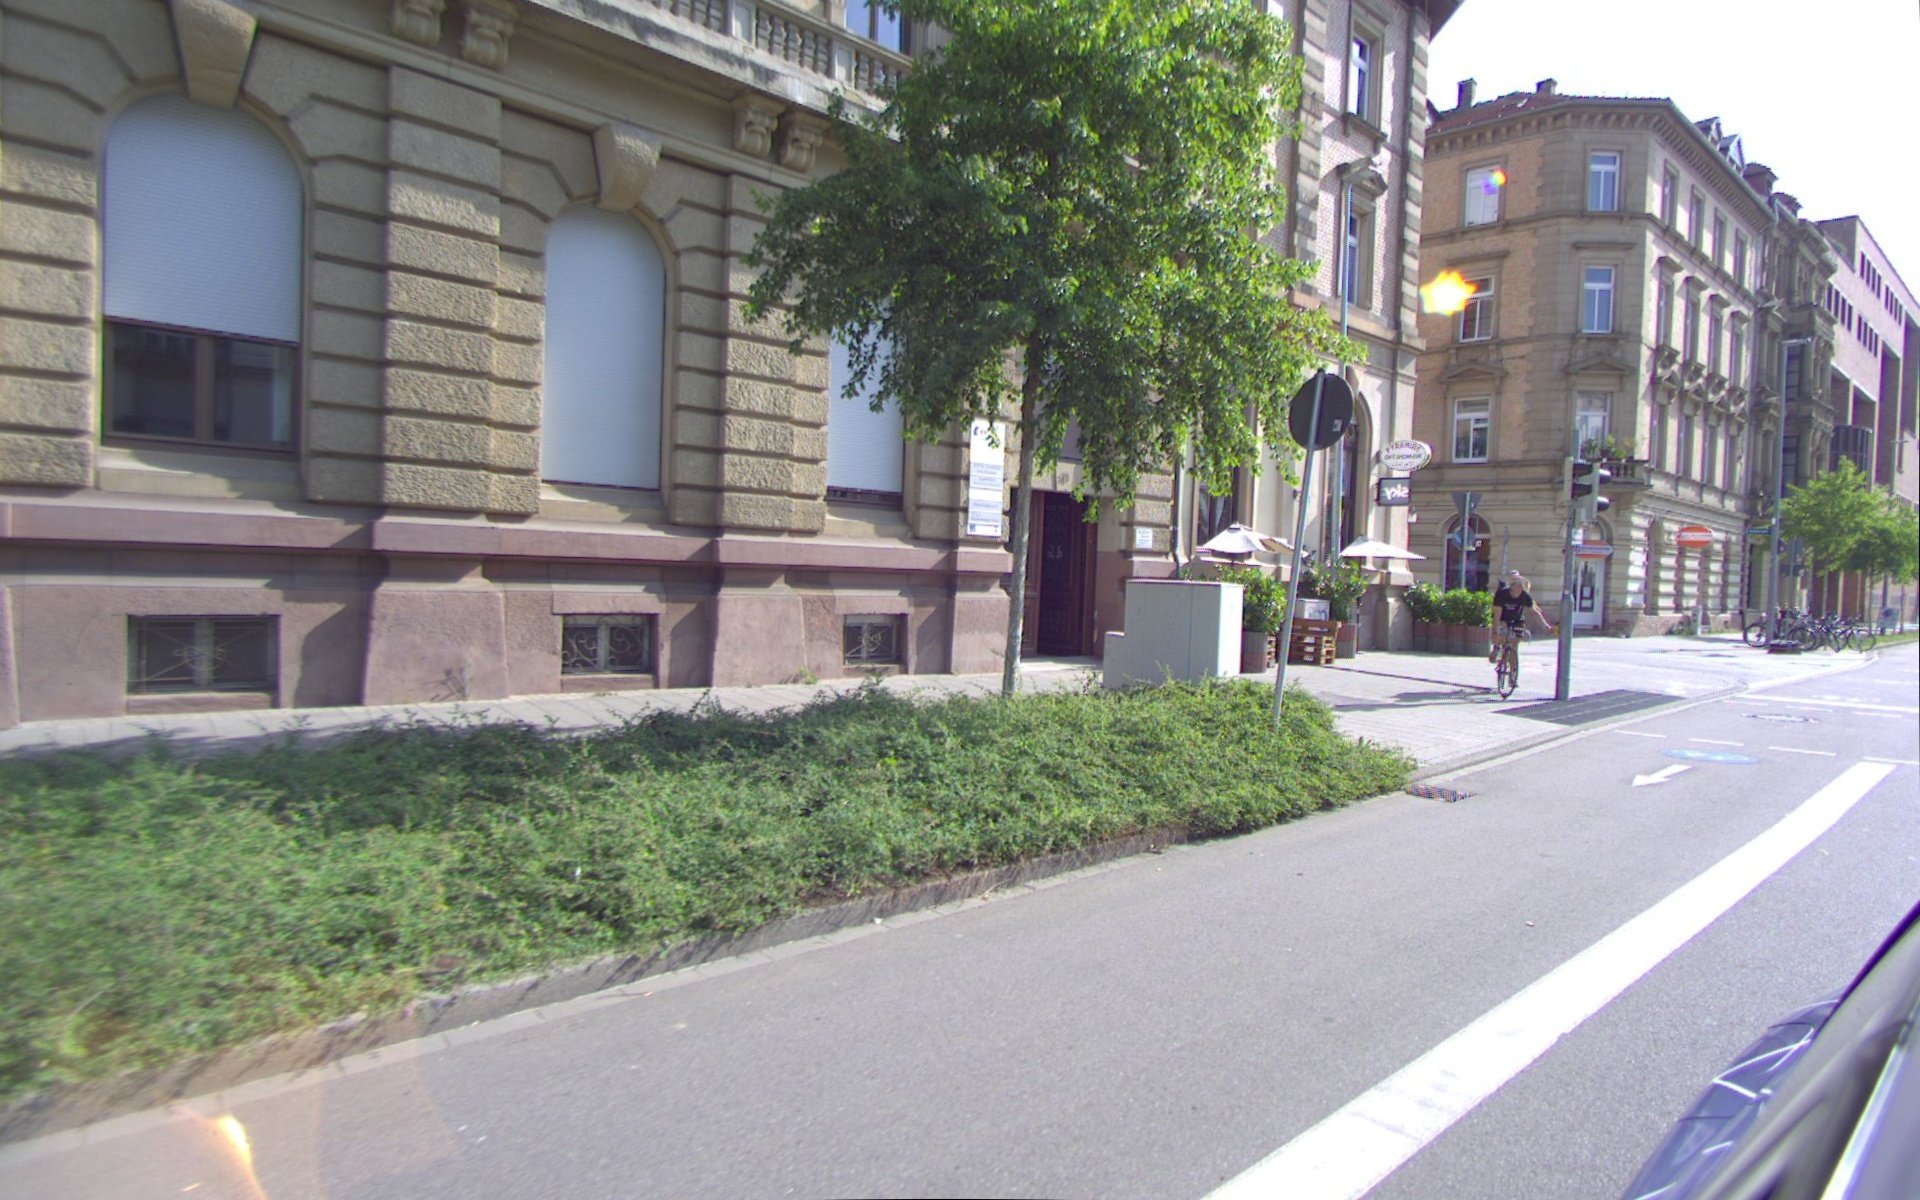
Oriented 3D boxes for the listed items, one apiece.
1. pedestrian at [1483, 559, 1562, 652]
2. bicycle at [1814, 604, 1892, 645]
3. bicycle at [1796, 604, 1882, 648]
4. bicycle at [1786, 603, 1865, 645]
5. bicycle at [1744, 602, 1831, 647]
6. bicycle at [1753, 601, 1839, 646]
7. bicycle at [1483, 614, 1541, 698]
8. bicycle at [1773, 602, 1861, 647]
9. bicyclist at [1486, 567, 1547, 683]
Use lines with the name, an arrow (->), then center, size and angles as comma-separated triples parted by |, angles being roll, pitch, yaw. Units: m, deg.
pedestrian -> 11.611, 0.097, 20.915 | 0.972, 1.828, 0.866 | 4, 1, -12
bicycle -> 28.392, 0.767, 32.203 | 1.755, 1.100, 0.602 | 7, 5, 41
bicycle -> 26.423, 0.780, 30.449 | 1.745, 1.100, 0.666 | 6, 4, 28
bicycle -> 26.895, 0.729, 31.488 | 1.755, 1.100, 0.648 | 7, 5, 41
bicycle -> 23.500, 0.668, 28.766 | 0.572, 1.100, 1.759 | 1, 4, -37
bicycle -> 23.999, 0.665, 29.090 | 0.572, 1.100, 1.759 | 1, 4, -37
bicycle -> 7.539, 0.726, 13.783 | 0.503, 0.964, 1.764 | 5, 4, 33
bicycle -> 25.122, 0.716, 29.696 | 0.656, 1.100, 1.763 | 1, 5, -35
bicyclist -> 7.627, 0.310, 13.855 | 0.582, 1.500, 0.921 | 4, 4, 33
